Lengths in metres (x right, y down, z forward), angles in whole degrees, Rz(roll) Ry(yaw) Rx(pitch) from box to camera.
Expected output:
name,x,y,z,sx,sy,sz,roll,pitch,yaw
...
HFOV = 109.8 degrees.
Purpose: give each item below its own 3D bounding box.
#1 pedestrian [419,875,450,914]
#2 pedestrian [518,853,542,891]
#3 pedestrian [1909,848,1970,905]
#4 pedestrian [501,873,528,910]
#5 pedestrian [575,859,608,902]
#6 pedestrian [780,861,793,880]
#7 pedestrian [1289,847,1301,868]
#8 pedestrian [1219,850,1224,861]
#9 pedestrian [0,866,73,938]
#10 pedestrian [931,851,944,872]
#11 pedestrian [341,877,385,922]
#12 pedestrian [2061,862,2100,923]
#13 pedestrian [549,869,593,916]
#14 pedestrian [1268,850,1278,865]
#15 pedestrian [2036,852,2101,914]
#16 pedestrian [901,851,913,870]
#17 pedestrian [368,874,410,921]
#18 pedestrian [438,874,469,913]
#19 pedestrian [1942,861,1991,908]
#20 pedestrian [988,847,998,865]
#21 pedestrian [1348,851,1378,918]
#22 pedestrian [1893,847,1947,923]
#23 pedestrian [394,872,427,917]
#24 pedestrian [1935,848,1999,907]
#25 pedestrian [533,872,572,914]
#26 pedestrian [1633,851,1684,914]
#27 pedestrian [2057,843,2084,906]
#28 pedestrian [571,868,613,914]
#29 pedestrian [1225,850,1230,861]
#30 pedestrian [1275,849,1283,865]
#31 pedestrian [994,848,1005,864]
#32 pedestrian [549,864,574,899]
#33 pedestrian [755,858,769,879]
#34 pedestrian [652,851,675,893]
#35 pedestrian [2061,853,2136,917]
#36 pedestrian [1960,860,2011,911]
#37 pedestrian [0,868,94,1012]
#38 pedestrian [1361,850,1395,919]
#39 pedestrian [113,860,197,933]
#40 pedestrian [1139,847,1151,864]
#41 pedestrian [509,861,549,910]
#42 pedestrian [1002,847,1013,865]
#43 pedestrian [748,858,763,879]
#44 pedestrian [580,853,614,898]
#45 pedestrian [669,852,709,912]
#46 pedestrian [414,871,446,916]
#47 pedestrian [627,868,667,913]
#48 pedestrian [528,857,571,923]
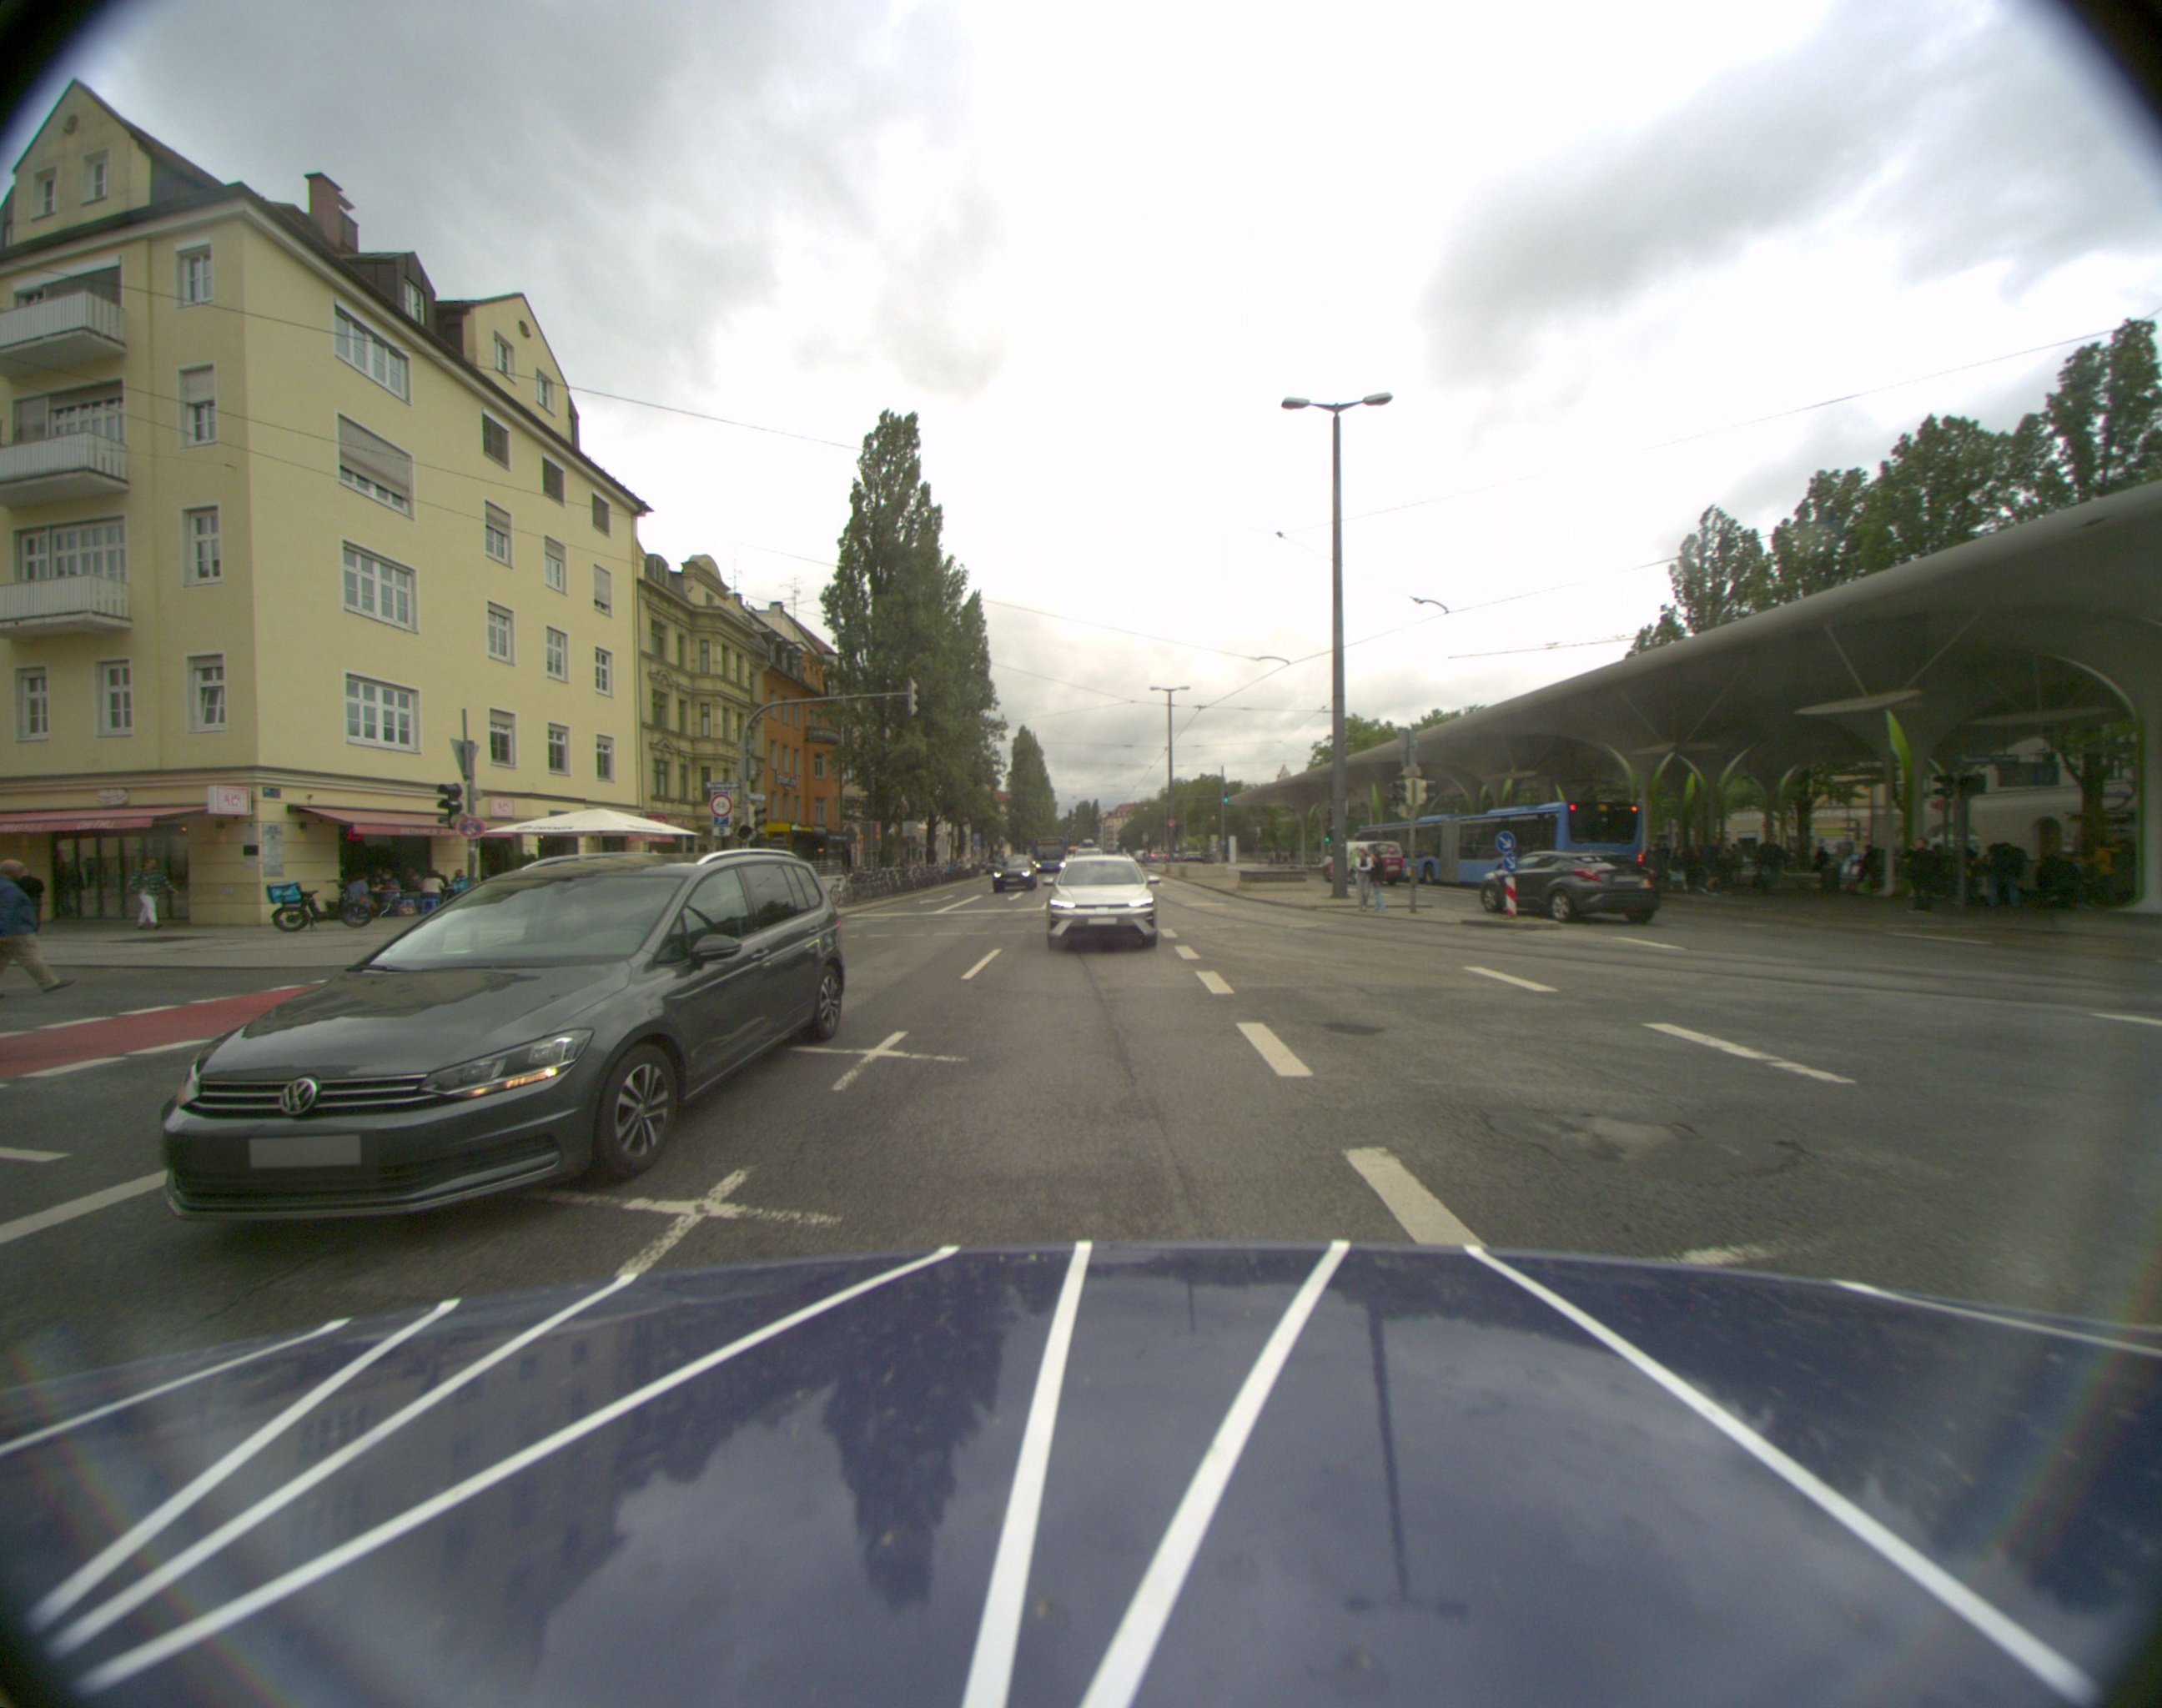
name,x,y,z,sx,sy,sz,roll,pitch,yaw
pedestrian,-19.726,1.233,23.194,0.479,1.159,0.527,-1,1,-1
pedestrian,-20.697,0.667,28.546,0.510,1.389,0.489,-1,1,6
pedestrian,28.041,0.731,24.832,1.008,1.810,0.840,-1,1,5
pedestrian,-21.514,1.413,28.856,0.542,1.389,0.552,-1,1,1
pedestrian,-16.233,0.872,25.198,0.677,1.414,0.616,-1,1,1
pedestrian,-19.381,1.087,49.996,0.624,1.211,0.583,-1,1,0
pedestrian,18.760,0.299,66.664,0.667,1.828,0.808,-1,1,-30
pedestrian,19.333,0.246,104.345,0.632,1.549,0.589,0,1,0
pedestrian,-23.711,1.068,17.191,0.760,1.576,0.768,0,1,5
pedestrian,-10.750,0.535,57.066,0.761,1.553,0.763,-1,0,2
pedestrian,-19.516,1.230,20.666,0.515,1.175,0.703,-1,1,-1
pedestrian,26.793,1.024,20.374,0.621,1.594,0.538,-1,1,-29
pedestrian,-14.604,1.093,21.786,0.679,1.304,0.796,-1,1,1
pedestrian,20.615,0.365,81.459,0.739,1.619,0.741,-1,1,-20
pedestrian,23.749,0.683,18.291,0.871,1.449,0.552,0,1,43
pedestrian,-15.776,0.557,68.858,0.748,1.675,1.017,-1,1,1
pedestrian,-19.588,1.232,21.521,0.515,1.284,0.703,-1,1,-1
pedestrian,-19.194,1.207,23.256,0.479,1.159,0.527,-1,1,-1
pedestrian,25.616,0.854,21.994,0.840,1.310,0.877,-2,1,-43
pedestrian,-8.807,0.179,76.032,0.699,1.770,0.652,-1,0,34
pedestrian,6.819,0.726,18.382,0.520,1.609,0.465,0,1,45
pedestrian,19.108,0.691,17.318,0.548,1.710,0.615,0,1,8
pedestrian,-19.701,1.176,22.329,0.479,1.291,0.527,-1,1,-1
pedestrian,27.964,0.738,24.004,1.008,1.817,0.840,-1,1,5
pedestrian,-15.699,1.142,22.593,0.627,1.196,0.700,-1,1,1
pedestrian,15.745,0.752,20.701,0.975,1.671,0.839,-1,1,-34
pedestrian,30.701,0.621,23.571,0.484,1.921,0.422,-1,1,-28
pedestrian,-14.584,1.088,22.675,0.679,1.304,0.796,-1,1,1
pedestrian,20.134,0.207,104.360,0.632,1.549,0.589,0,1,0
pedestrian,22.051,0.346,84.681,0.735,1.706,0.861,0,1,11
pedestrian,-8.224,0.223,76.629,0.758,1.628,0.699,-1,0,-42
pedestrian,-19.581,1.023,28.659,0.542,1.282,0.552,-1,1,1
pedestrian,-19.356,0.856,46.067,0.584,1.273,0.583,-1,1,0
pedestrian,-17.599,0.745,32.038,0.602,1.729,0.666,-1,1,1
pedestrian,24.692,0.738,18.451,0.734,1.521,0.798,-1,1,3
pedestrian,22.505,0.767,18.908,0.539,1.228,0.613,-1,1,1
pedestrian,-13.703,1.069,9.639,0.935,1.745,1.065,0,1,4
pedestrian,7.056,0.716,18.048,0.488,1.609,0.556,-1,1,-34
pedestrian,-21.905,0.984,17.980,1.038,1.673,0.839,0,1,11
pedestrian,6.655,0.155,79.407,0.862,1.801,0.895,-2,2,-24
pedestrian,-17.612,0.994,24.270,0.732,1.532,0.890,-1,1,-14
pedestrian,-7.508,0.219,77.701,0.881,1.791,0.757,-1,0,11
pedestrian,-19.385,0.860,45.229,0.584,1.273,0.583,-1,1,0
pedestrian,-17.922,0.787,28.143,0.712,1.623,0.786,-1,1,1
pedestrian,-11.764,0.823,22.821,0.884,1.733,0.857,-1,1,-15
pedestrian,-19.170,1.145,22.381,0.479,1.291,0.527,-1,1,-1
pedestrian,-12.909,1.069,22.611,0.679,1.303,0.796,-1,1,1
pedestrian,-14.005,0.917,20.035,0.761,1.685,0.766,-1,1,-24
